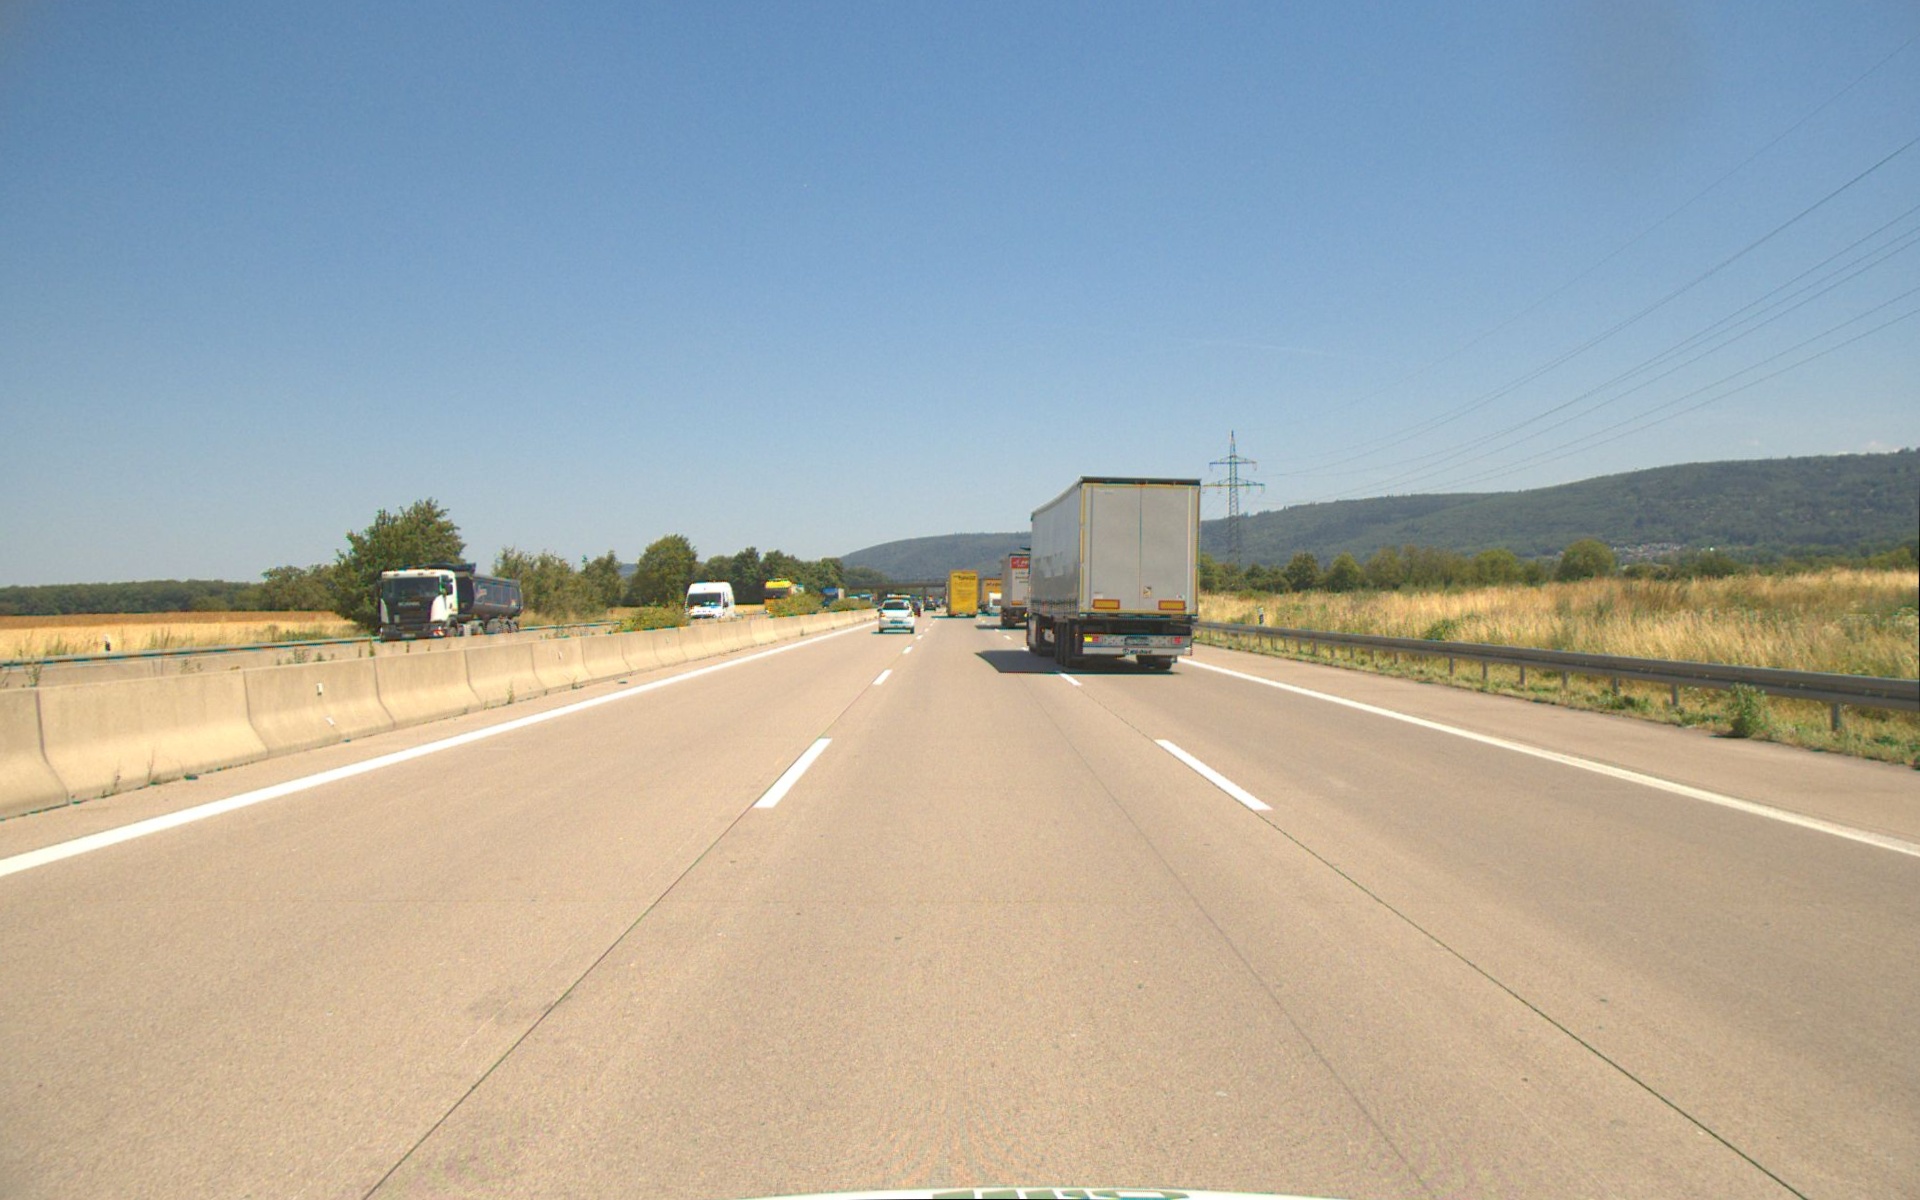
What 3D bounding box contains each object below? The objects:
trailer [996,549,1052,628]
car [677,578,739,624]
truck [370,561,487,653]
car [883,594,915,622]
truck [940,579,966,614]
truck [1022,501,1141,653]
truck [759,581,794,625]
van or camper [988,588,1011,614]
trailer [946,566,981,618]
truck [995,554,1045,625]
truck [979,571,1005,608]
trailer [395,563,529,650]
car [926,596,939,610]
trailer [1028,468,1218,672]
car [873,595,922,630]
[{"bbox_3d":[3.554,-0.605,95.025,2.815,4.172,13.513,1,0,1],"label":"trailer"},{"bbox_3d":[-12.533,0.047,82.744,2.165,2.227,6.324,1,0,-1],"label":"car"},{"bbox_3d":[-20.506,0.263,64.122,2.749,3.362,5.613,1,0,-1],"label":"truck"},{"bbox_3d":[-4.542,0.602,123.451,2.208,2.049,4.297,1,0,0],"label":"car"},{"bbox_3d":[-0.938,-0.452,215.792,3.284,4.347,8.228,1,0,0],"label":"truck"},{"bbox_3d":[3.429,-0.637,47.958,2.924,4.133,5.476,1,0,-1],"label":"truck"},{"bbox_3d":[-17.407,0.272,156.996,2.687,4.151,5.540,1,0,0],"label":"truck"},{"bbox_3d":[4.066,0.088,171.734,2.179,2.575,5.430,1,0,-1],"label":"van or camper"},{"bbox_3d":[0.309,-0.724,155.650,3.150,4.643,13.456,1,0,0],"label":"trailer"},{"bbox_3d":[3.645,-0.609,101.520,2.846,4.172,6.272,1,0,0],"label":"truck"},{"bbox_3d":[3.850,-1.222,199.838,2.937,4.390,9.683,1,0,0],"label":"truck"},{"bbox_3d":[-20.579,0.259,68.942,2.770,3.362,9.461,1,0,-1],"label":"trailer"},{"bbox_3d":[-3.892,0.451,233.609,1.747,1.914,4.000,1,0,0],"label":"car"},{"bbox_3d":[3.615,-0.619,40.869,2.957,4.132,14.203,1,0,-1],"label":"trailer"},{"bbox_3d":[-2.888,0.560,77.091,2.063,1.563,4.122,1,0,1],"label":"car"}]
